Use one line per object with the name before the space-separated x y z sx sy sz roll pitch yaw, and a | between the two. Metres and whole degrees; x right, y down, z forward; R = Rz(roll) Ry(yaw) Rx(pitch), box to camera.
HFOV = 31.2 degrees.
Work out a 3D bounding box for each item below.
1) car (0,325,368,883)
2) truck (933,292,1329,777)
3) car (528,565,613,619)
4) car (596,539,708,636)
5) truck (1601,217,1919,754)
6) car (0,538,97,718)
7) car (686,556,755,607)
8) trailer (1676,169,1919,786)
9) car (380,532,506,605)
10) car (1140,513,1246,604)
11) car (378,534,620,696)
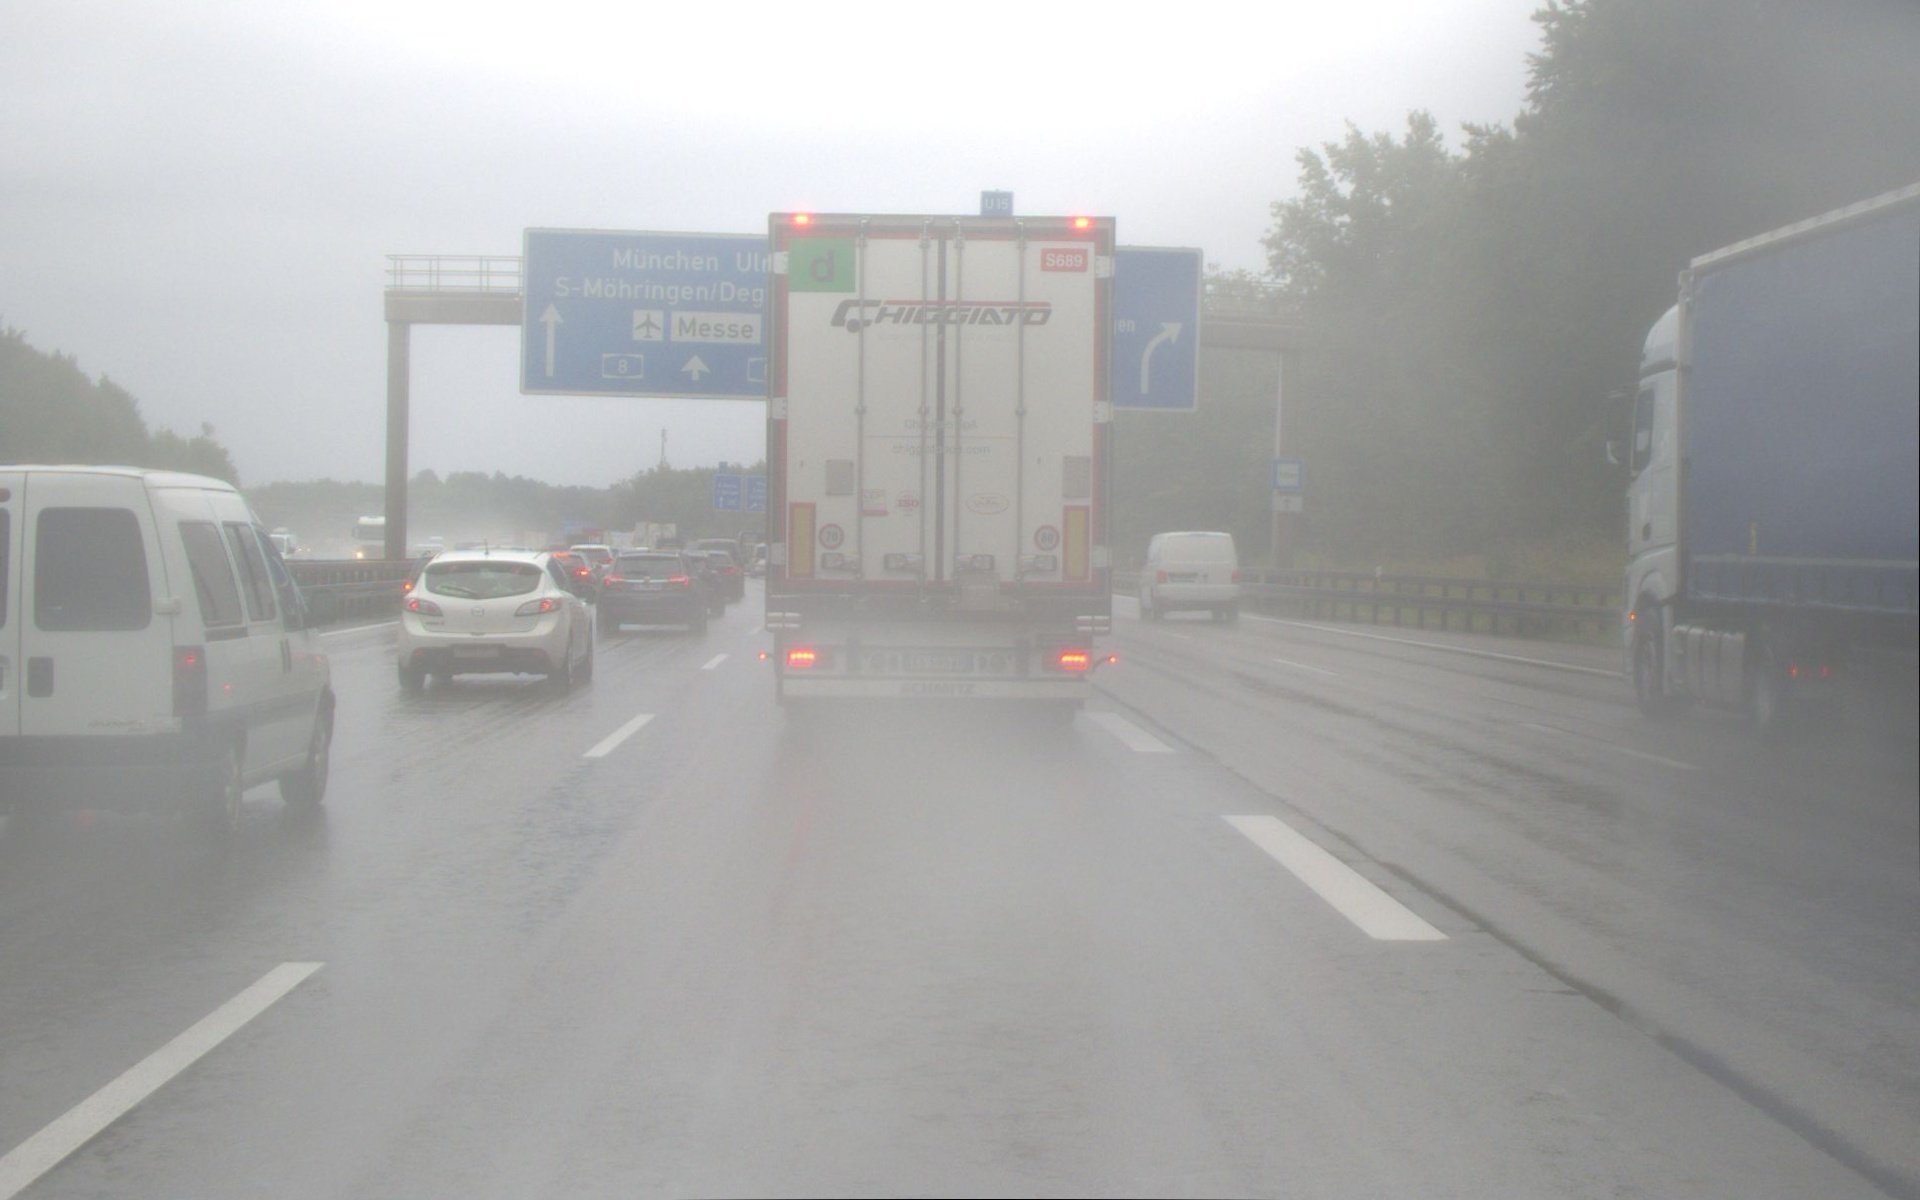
car | -4.684 -0.050 18.360 2.213 2.564 5.016 1 1 -1
truck | 1.426 -0.558 31.074 2.872 3.550 11.302 1 1 2
car | -10.453 -0.238 92.534 1.845 1.326 4.467 1 1 -1
car | -5.377 -0.244 60.506 1.845 1.586 4.467 1 1 -4
truck | 7.326 -0.894 28.768 2.601 4.000 6.013 1 1 -1
car | -9.560 0.226 32.120 1.845 1.586 4.467 1 1 0
car | -6.666 -0.529 95.902 1.845 1.326 4.467 1 1 -3
trailer | 7.496 -0.781 22.089 2.553 4.000 13.716 1 1 -1
car | -10.021 -0.644 66.915 1.845 1.326 4.467 1 1 -1
car | 5.127 -0.949 76.223 1.990 1.914 4.767 1 1 0
car | -4.841 0.116 36.655 1.846 1.586 4.072 1 1 3
